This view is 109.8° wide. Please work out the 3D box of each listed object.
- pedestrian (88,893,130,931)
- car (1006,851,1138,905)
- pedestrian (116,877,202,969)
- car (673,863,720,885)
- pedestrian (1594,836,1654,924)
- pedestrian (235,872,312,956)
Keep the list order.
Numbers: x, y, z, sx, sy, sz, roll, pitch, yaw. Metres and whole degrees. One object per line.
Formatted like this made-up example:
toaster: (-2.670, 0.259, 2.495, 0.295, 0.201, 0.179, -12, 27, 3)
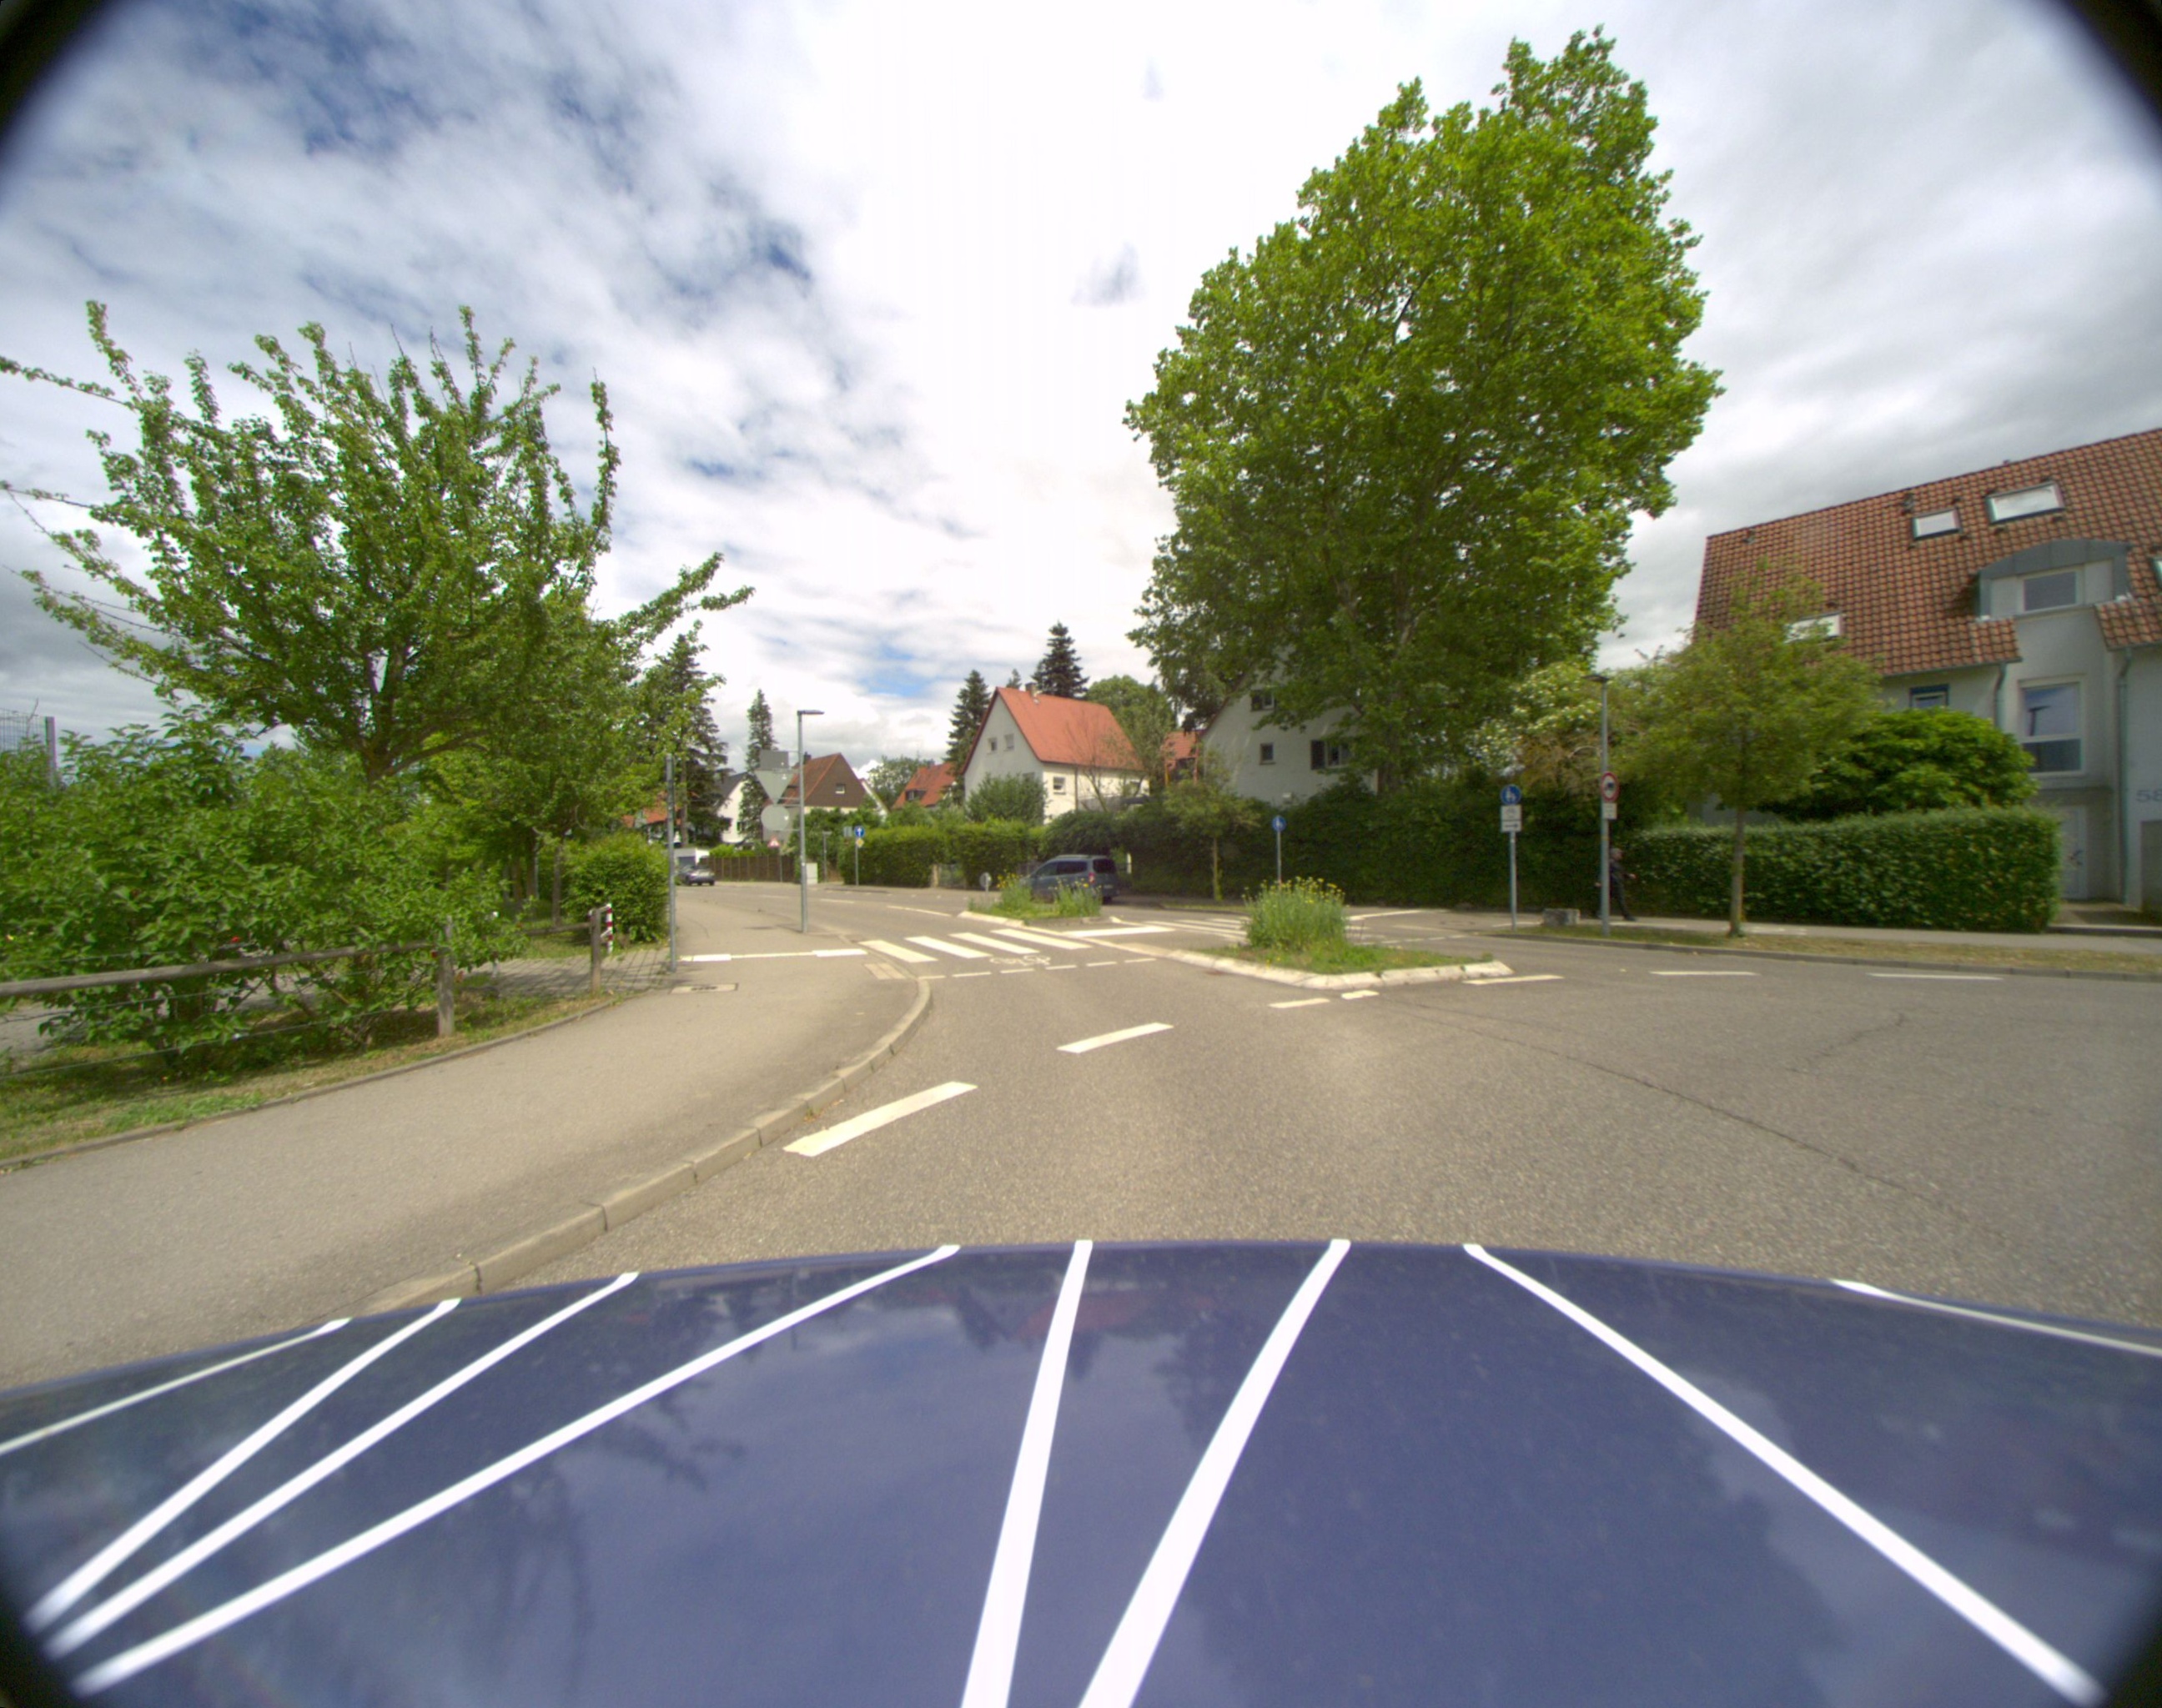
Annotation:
pedestrian: (-33.059, 1.964, 25.848, 0.566, 1.227, 0.797, -1, 0, -28)
car: (-0.390, 0.864, 28.123, 4.452, 1.762, 2.143, -1, 2, 39)
pedestrian: (-18.110, 1.322, 14.934, 0.929, 1.684, 0.897, -1, 2, 34)
car: (-28.142, 1.438, 55.556, 2.004, 1.470, 4.634, 0, -1, -41)
pedestrian: (12.720, 0.594, 17.801, 1.038, 2.002, 0.876, 0, 0, 42)
pedestrian: (-17.312, 1.259, 16.297, 0.929, 1.684, 0.897, -1, 2, 34)
